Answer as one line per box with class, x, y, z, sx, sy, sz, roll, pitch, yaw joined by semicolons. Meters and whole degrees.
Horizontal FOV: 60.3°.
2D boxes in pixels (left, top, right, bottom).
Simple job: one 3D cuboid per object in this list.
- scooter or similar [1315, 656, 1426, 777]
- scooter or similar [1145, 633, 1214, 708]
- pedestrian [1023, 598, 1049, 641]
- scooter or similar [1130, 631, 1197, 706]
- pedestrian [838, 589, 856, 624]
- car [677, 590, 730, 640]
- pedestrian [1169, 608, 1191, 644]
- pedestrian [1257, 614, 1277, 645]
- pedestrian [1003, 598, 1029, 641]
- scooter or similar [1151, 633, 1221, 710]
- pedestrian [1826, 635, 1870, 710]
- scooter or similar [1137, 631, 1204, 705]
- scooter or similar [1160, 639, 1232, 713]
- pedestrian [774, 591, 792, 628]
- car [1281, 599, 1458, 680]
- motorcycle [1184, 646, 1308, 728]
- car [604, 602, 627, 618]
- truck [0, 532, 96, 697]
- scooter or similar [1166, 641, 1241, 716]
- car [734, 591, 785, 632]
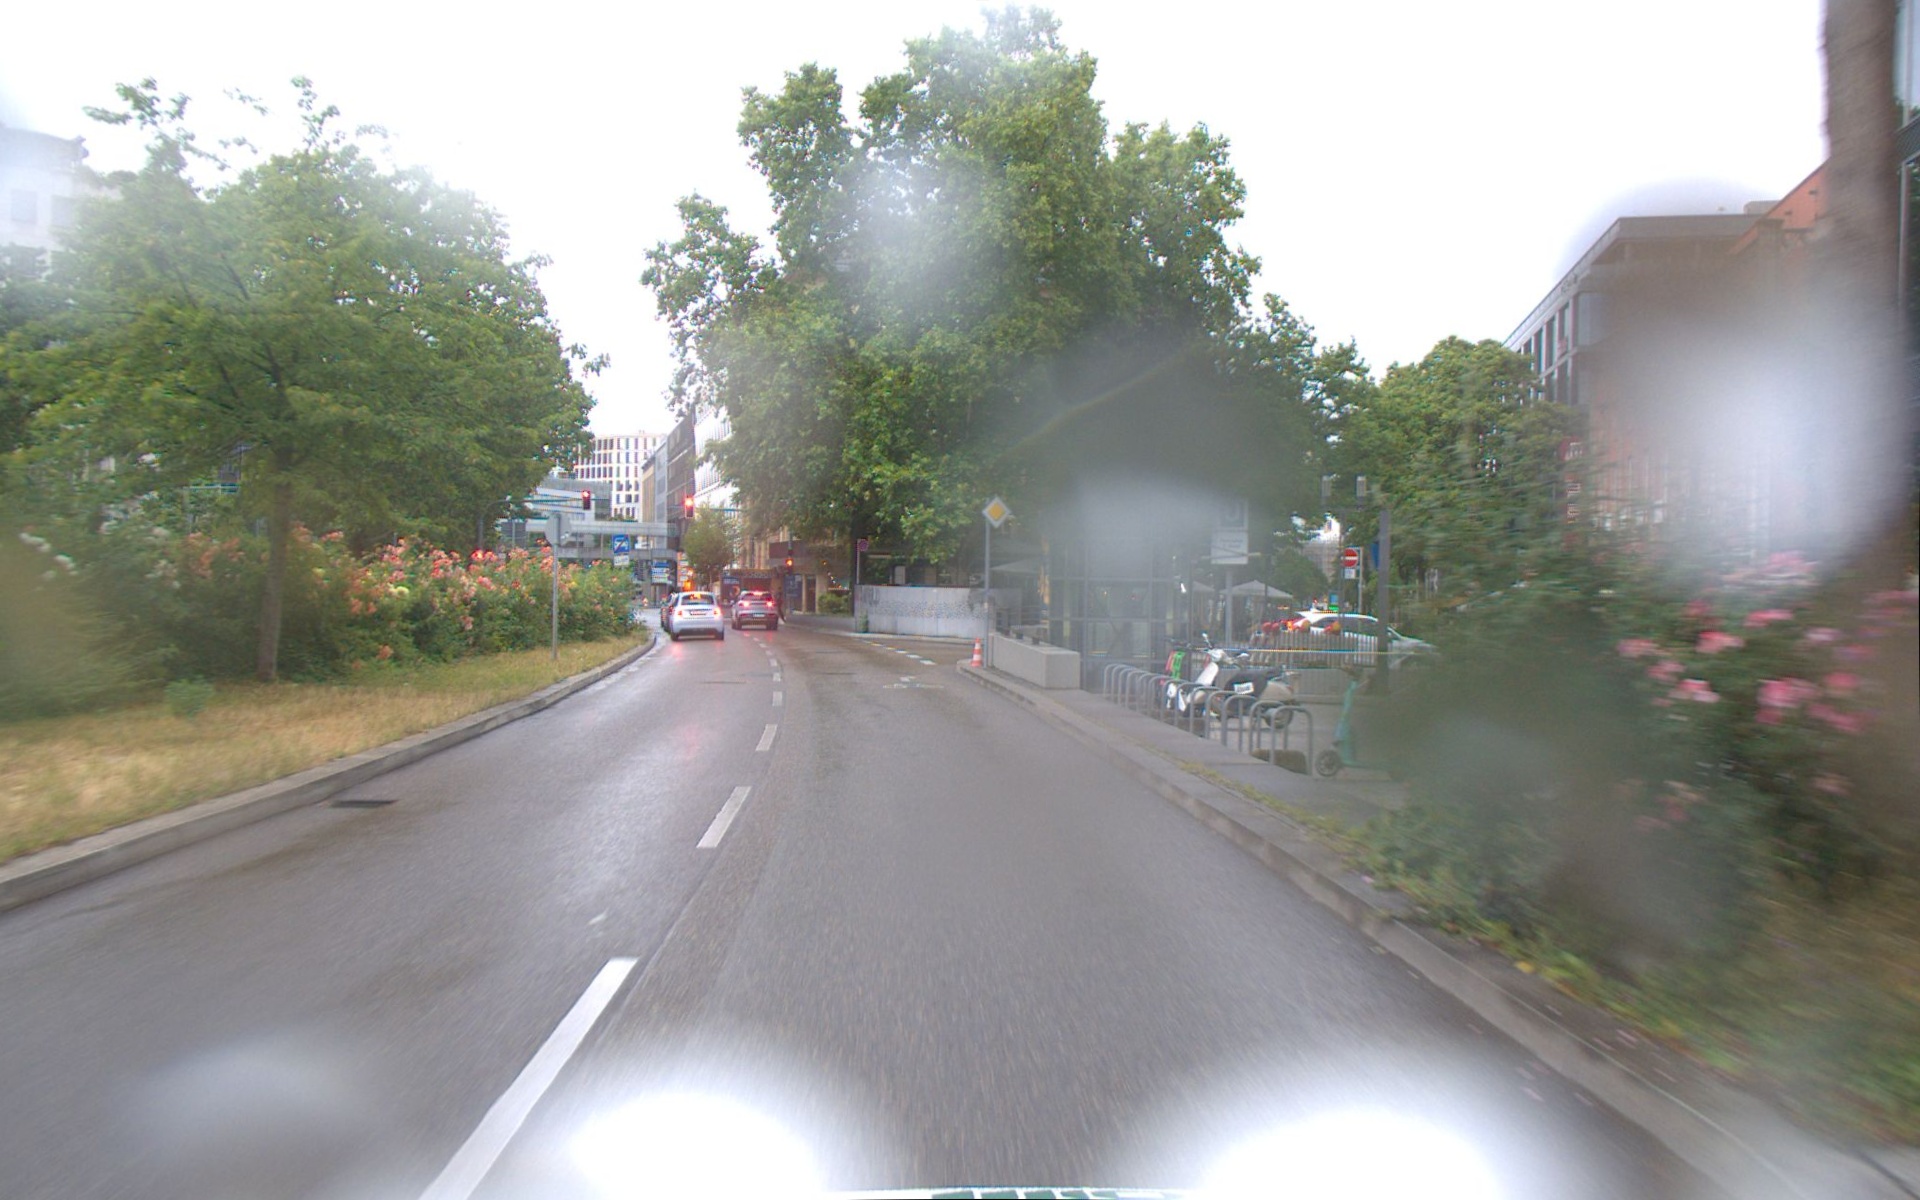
scooter or similar;4.558;1.295;18.382;1.072;1.294;0.479;2;0;-17
scooter or similar;3.783;1.213;28.562;1.091;1.237;0.364;2;0;-7
pedestrian;2.614;0.663;56.788;0.671;1.434;0.903;3;-1;-7
scooter or similar;3.620;1.212;29.403;1.091;1.291;0.364;2;0;-7
pedestrian;-5.853;0.355;85.465;0.843;1.811;0.716;1;-1;-8
car;-8.381;0.464;53.838;1.562;1.517;3.495;-1;0;-11
pedestrian;9.005;1.059;67.696;0.598;1.436;0.627;3;-1;-19
pedestrian;12.819;1.244;69.127;0.616;1.272;0.608;3;-1;-7
pedestrian;1.918;0.656;56.656;0.671;1.434;0.903;3;-1;-7
scooter or similar;3.839;1.214;28.160;1.091;1.258;0.364;2;0;-7
pedestrian;22.628;1.842;42.150;0.596;1.840;0.807;2;0;-4
scooter or similar;3.688;1.190;28.983;1.091;1.256;0.364;2;0;-7
scooter or similar;3.957;1.272;27.740;1.091;1.178;0.443;2;0;-7
pedestrian;-8.793;0.475;82.007;0.843;1.811;0.716;1;-1;-8
car;10.151;0.977;41.261;4.010;1.649;1.864;4;-1;7
motorcycle;4.370;1.323;25.344;1.743;1.178;0.606;2;0;-7
car;-32.370;0.931;155.477;1.945;1.488;4.329;-1;0;-14
truck;-16.545;0.210;24.059;3.297;2.554;8.477;1;0;2
scooter or similar;4.009;1.283;27.230;1.091;1.178;0.531;2;0;-6
car;-8.793;0.484;72.315;1.912;1.695;4.333;1;-1;-11
